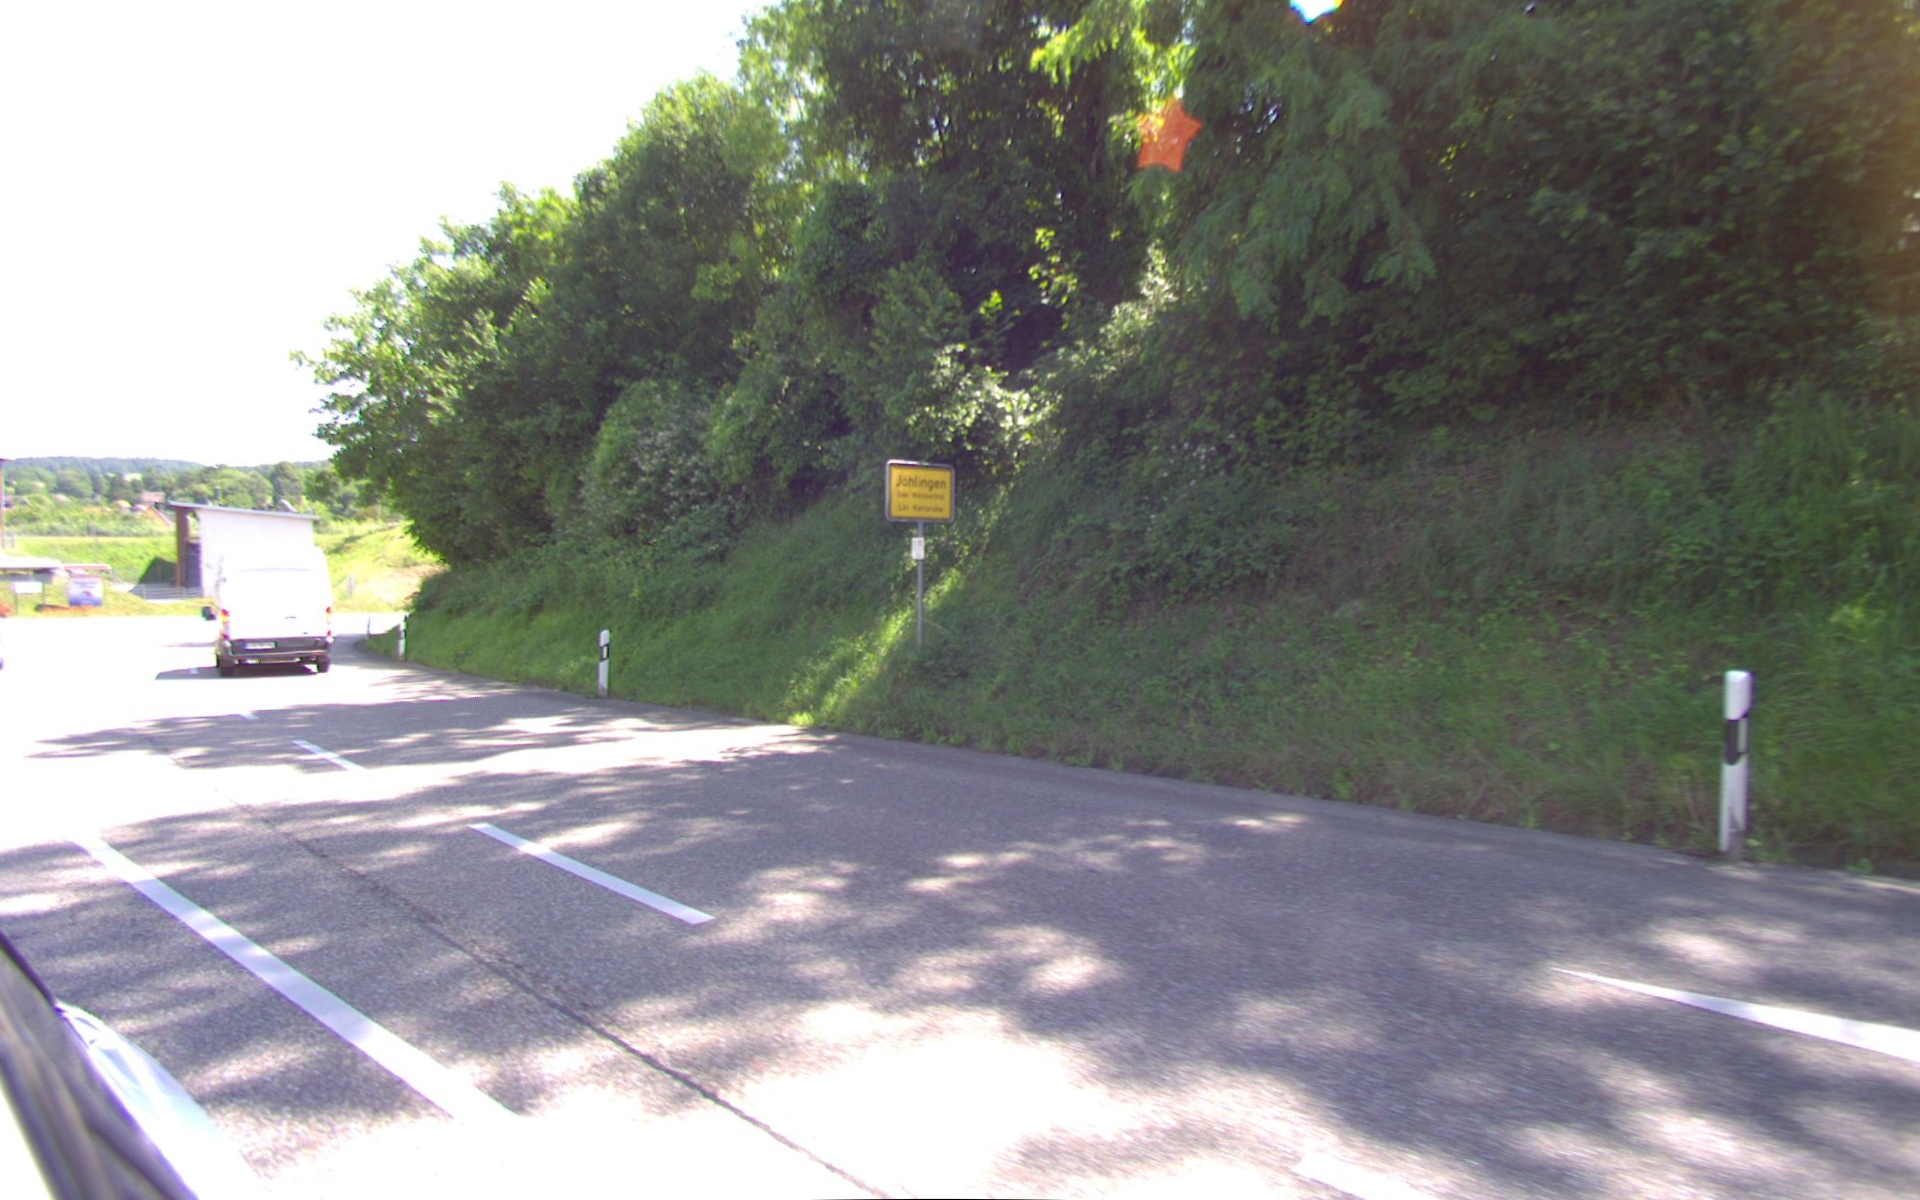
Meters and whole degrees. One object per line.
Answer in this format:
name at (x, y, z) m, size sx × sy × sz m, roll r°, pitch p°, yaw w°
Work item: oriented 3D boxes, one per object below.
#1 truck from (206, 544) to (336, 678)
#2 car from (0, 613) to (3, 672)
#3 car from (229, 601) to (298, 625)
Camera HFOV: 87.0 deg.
truck at (-16.072, 0.242, 23.439) m, size 2.027 × 2.707 × 5.992 m, roll 0°, pitch 0°, yaw -39°
car at (-21.558, 0.942, 21.443) m, size 1.622 × 1.332 × 3.444 m, roll 1°, pitch -1°, yaw -40°
car at (-39.316, 0.713, 57.237) m, size 1.728 × 1.298 × 4.155 m, roll 1°, pitch -1°, yaw -11°
